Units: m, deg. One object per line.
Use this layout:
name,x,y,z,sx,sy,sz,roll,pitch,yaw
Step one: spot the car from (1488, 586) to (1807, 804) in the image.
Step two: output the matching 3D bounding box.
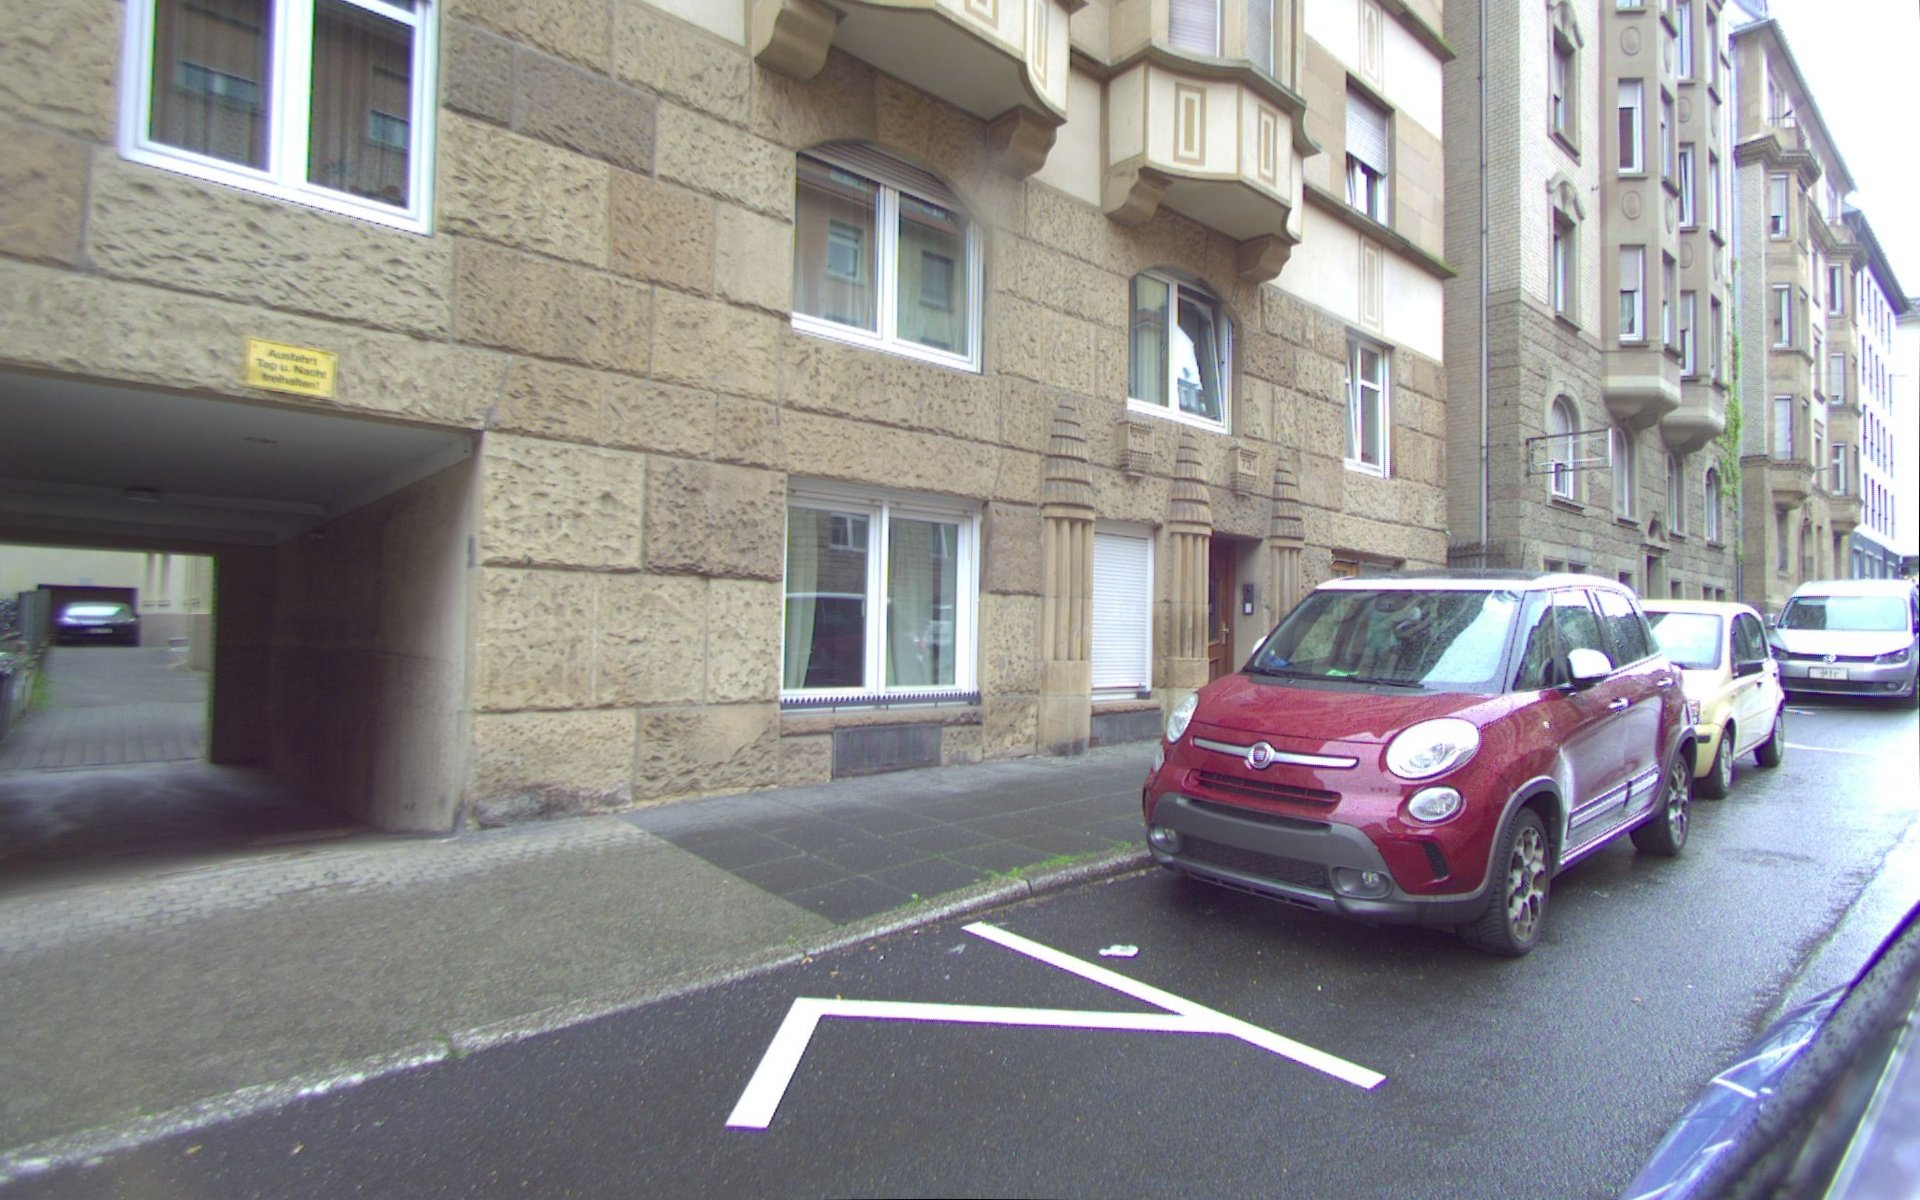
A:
car,6.203,0.679,8.994,3.517,1.549,1.578,0,-1,-43

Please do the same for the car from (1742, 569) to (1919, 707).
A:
car,13.766,0.504,15.513,4.380,1.825,1.966,0,-1,-41

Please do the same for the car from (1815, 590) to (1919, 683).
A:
car,17.173,0.604,18.504,3.934,1.549,1.994,0,-1,-45

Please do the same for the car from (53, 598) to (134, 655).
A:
car,-25.184,0.738,29.454,1.692,1.541,4.098,0,-1,-41

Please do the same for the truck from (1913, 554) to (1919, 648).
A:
truck,29.164,0.027,28.884,6.036,2.568,2.234,0,-1,-41

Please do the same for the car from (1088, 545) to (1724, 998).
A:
car,2.682,0.616,5.632,3.932,1.619,1.804,0,-1,-42

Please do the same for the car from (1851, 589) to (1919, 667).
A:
car,20.479,0.551,21.444,3.860,1.549,1.889,0,-1,-41
